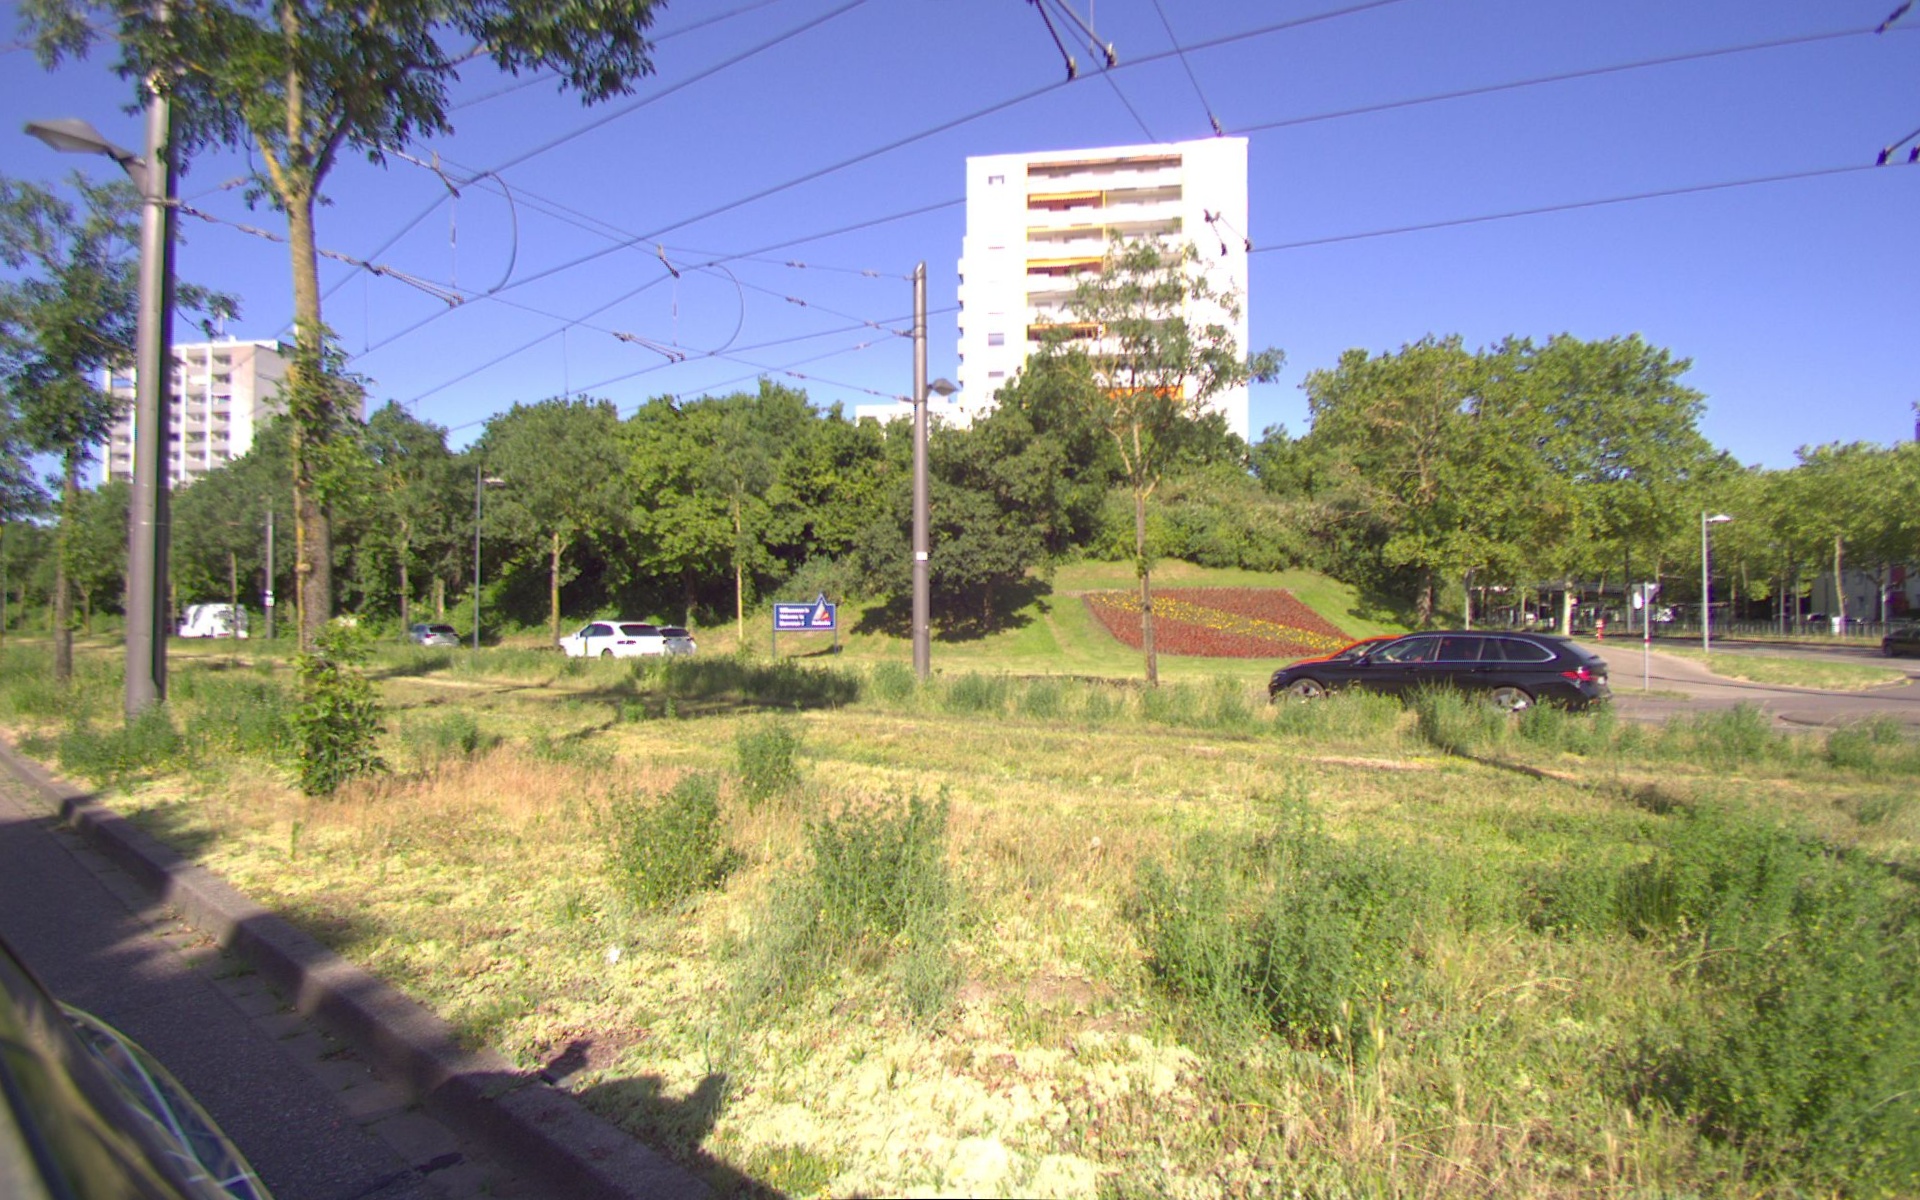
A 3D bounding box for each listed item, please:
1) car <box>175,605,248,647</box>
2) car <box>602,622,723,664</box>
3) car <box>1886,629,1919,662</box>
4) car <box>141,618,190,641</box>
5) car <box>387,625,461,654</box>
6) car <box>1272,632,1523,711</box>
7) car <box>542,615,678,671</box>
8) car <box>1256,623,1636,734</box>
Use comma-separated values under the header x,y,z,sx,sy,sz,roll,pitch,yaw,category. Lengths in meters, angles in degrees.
x,y,z,sx,sy,sz,roll,pitch,yaw,category
-44.869,1.541,60.605,6.875,2.387,2.019,-1,-1,40,car
-10.842,1.521,36.766,4.536,1.408,1.882,-1,-1,37,car
40.691,1.890,41.777,1.717,1.332,3.987,-1,-1,10,car
-59.107,2.172,75.257,5.270,1.596,1.973,-1,-1,41,car
-26.019,1.908,49.045,3.996,1.302,1.780,-1,-1,39,car
8.277,1.287,19.300,4.167,1.307,1.643,-1,-1,35,car
-11.113,1.309,32.017,4.651,1.634,1.876,-1,-1,39,car
7.396,1.095,15.779,4.990,1.420,1.972,-1,-1,43,car
